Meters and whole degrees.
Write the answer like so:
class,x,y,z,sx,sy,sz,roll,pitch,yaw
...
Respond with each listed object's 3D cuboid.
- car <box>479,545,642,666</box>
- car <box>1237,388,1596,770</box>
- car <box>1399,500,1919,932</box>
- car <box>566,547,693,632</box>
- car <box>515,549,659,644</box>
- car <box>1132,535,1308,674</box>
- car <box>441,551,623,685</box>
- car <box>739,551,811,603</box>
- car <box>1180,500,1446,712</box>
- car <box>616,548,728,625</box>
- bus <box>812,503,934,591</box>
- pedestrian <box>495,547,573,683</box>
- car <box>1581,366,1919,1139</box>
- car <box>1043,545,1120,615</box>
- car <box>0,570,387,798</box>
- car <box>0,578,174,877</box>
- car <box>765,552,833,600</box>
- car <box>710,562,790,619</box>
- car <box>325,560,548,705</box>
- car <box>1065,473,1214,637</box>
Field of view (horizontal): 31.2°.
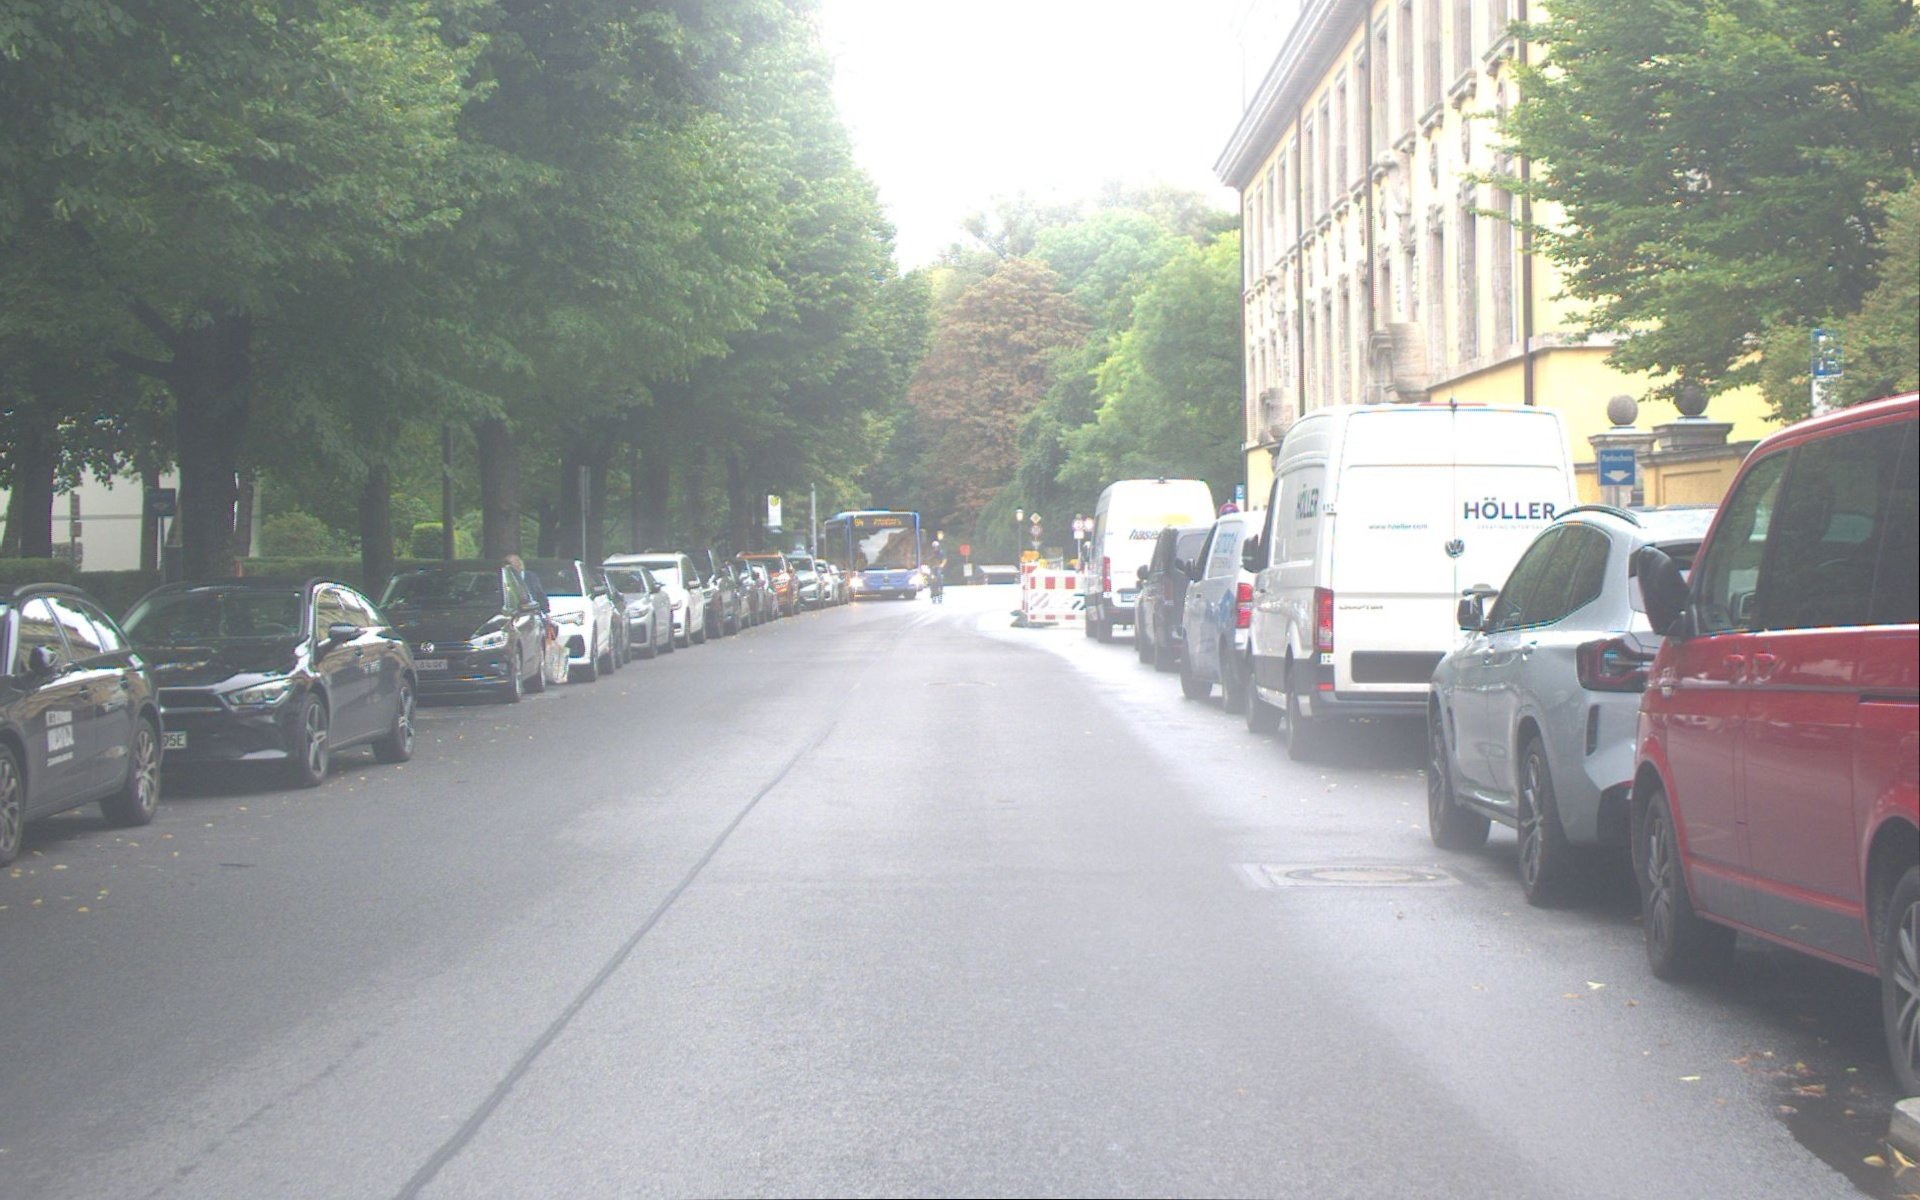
class,x,y,z,sx,sy,sz,roll,pitch,yaw
car,-5.624,0.044,48.848,1.993,1.614,4.130,-1,1,-3
car,3.301,-0.185,25.927,1.993,2.549,5.430,-1,1,0
car,3.285,0.399,15.431,1.993,1.629,4.564,-1,1,0
car,-5.753,-0.214,60.253,1.993,1.415,4.001,-1,1,-3
car,-5.847,-0.080,54.312,1.993,1.415,4.001,-1,1,-3
car,3.273,0.023,43.908,1.794,1.673,4.000,-1,1,-2
car,-5.462,0.196,44.313,1.993,1.614,4.130,-1,1,-3
car,-5.280,-0.669,98.182,1.993,1.415,4.001,-1,1,-3
car,3.312,0.022,33.004,1.993,1.876,4.000,-1,1,-2
car,-5.533,-0.288,66.450,1.993,1.415,4.001,-1,1,-3
bus,-3.093,-1.838,119.029,2.936,2.909,8.242,-1,1,-11
pedestrian,-5.072,0.173,40.923,0.883,1.592,0.823,-1,1,-7
car,3.301,0.352,10.027,1.911,1.930,4.970,-1,1,-2
car,3.177,-0.542,89.031,1.805,1.730,4.000,-1,1,4
car,-5.310,0.525,24.283,1.993,1.415,4.130,-1,1,-3
car,-5.659,0.621,18.728,1.993,1.415,4.001,-1,1,-3
car,-4.867,-0.737,103.781,1.993,1.415,4.001,-1,1,-3
car,-5.409,-0.258,88.988,1.993,1.415,4.001,-1,1,-3
car,-5.728,0.312,38.066,1.993,1.481,4.130,-1,1,-3
car,2.966,-0.757,57.645,1.839,2.613,4.385,-1,1,-5
